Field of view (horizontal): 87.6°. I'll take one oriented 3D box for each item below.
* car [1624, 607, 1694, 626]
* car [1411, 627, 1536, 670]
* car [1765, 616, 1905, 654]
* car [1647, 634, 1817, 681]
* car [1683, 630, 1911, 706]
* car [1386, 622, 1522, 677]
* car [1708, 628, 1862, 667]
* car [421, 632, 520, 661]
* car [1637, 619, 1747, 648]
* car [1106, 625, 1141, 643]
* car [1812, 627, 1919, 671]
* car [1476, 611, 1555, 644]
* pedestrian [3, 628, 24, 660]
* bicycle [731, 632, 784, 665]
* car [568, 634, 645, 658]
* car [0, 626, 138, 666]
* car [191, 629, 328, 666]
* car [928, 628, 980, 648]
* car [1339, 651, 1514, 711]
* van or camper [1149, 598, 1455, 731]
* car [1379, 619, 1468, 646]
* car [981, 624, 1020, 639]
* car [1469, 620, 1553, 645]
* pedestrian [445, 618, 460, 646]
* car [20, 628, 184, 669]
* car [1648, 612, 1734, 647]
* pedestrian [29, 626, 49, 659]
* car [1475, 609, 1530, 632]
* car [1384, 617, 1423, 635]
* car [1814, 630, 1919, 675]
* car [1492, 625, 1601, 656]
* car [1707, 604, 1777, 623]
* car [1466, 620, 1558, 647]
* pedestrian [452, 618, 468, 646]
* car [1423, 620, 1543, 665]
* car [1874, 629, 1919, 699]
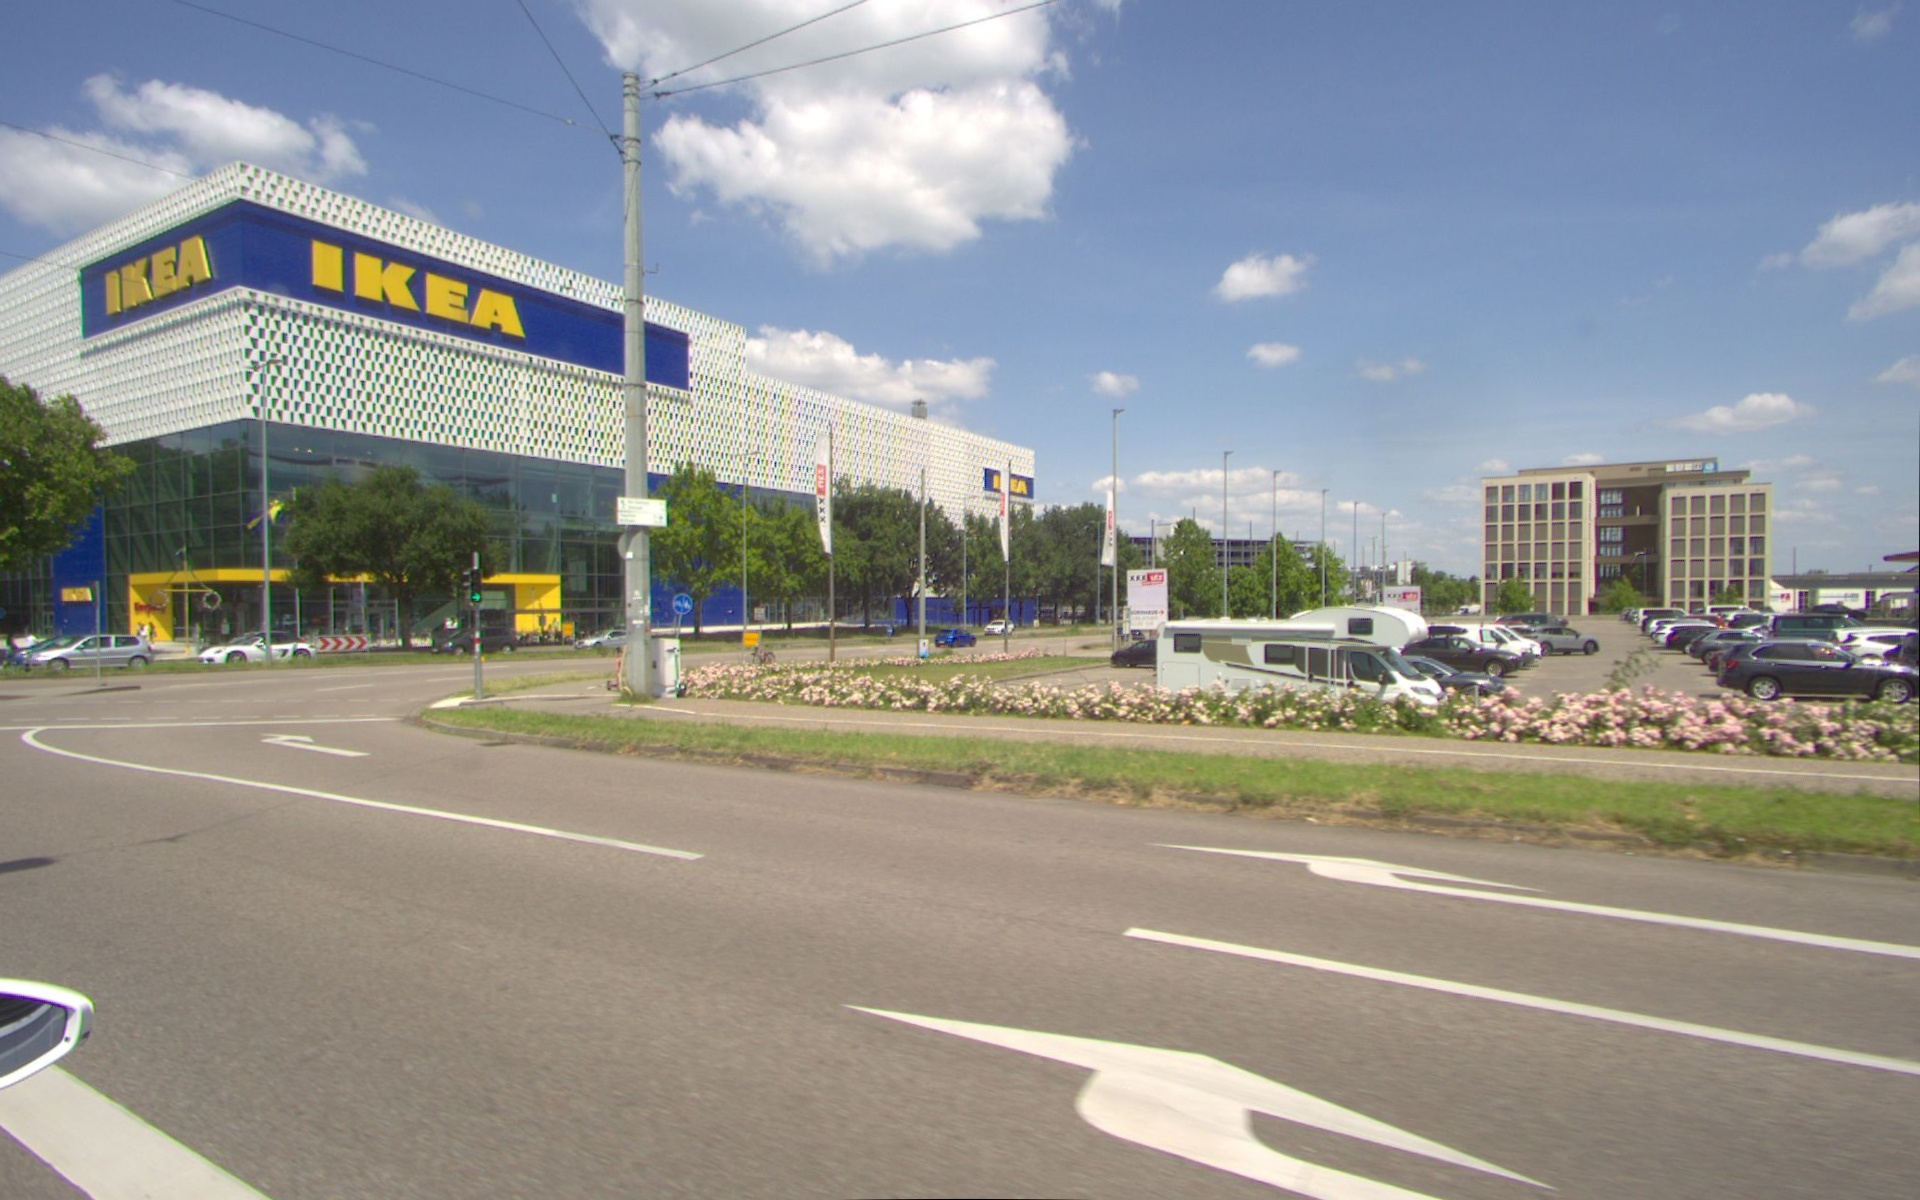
[{"bbox_3d":[61.241,1.496,87.876,4.929,1.631,1.990,-1,-2,32],"label":"car"},{"bbox_3d":[23.288,2.153,45.499,4.929,1.876,1.990,-1,-2,32],"label":"car"},{"bbox_3d":[45.044,1.812,51.703,5.105,1.889,1.991,-1,-2,30],"label":"car"},{"bbox_3d":[29.405,2.141,38.374,4.929,1.632,1.990,-1,0,32],"label":"car"},{"bbox_3d":[24.620,1.939,29.753,4.929,2.040,1.989,-1,1,32],"label":"car"},{"bbox_3d":[20.439,2.010,41.496,4.929,2.162,1.990,-1,-1,32],"label":"car"},{"bbox_3d":[35.931,2.042,43.809,4.927,1.631,1.991,-1,-2,31],"label":"car"},{"bbox_3d":[-26.732,2.550,54.866,1.973,1.505,4.487,-1,-3,35],"label":"car"},{"bbox_3d":[41.879,1.905,57.439,4.929,1.631,1.990,-1,-2,32],"label":"car"},{"bbox_3d":[14.638,3.015,89.602,1.741,1.546,4.080,-1,-1,31],"label":"car"},{"bbox_3d":[37.095,1.912,39.601,4.929,1.671,1.990,-1,-2,32],"label":"car"},{"bbox_3d":[40.297,1.989,72.618,4.929,2.333,1.990,-1,-1,32],"label":"car"},{"bbox_3d":[-47.345,2.191,50.104,0.699,1.564,0.672,1,-1,-39],"label":"pedestrian"},{"bbox_3d":[-9.430,2.230,46.783,0.975,1.500,2.415,-1,-1,36],"label":"bicycle"},{"bbox_3d":[-23.349,3.069,66.249,1.973,1.505,4.487,-1,-3,35],"label":"car"},{"bbox_3d":[-35.799,1.841,40.297,1.973,1.505,3.780,-1,-3,35],"label":"car"},{"bbox_3d":[-30.253,2.060,43.377,1.973,1.505,4.487,-1,-3,35],"label":"car"},{"bbox_3d":[-0.438,2.858,75.398,1.821,1.473,3.972,-1,-3,39],"label":"car"},{"bbox_3d":[14.286,2.427,30.733,4.701,1.558,1.989,-1,0,32],"label":"car"},{"bbox_3d":[8.723,1.564,25.999,7.128,3.059,2.500,-1,-2,36],"label":"van or camper"},{"bbox_3d":[28.746,1.994,62.201,4.921,1.631,1.993,-1,-2,27],"label":"car"},{"bbox_3d":[4.167,3.220,102.698,1.973,1.505,4.487,-1,-3,35],"label":"car"},{"bbox_3d":[37.679,2.225,68.507,4.929,1.631,1.990,-1,-2,32],"label":"car"},{"bbox_3d":[-37.746,2.377,74.510,0.813,2.039,0.709,0,-1,34],"label":"pedestrian"},{"bbox_3d":[-33.039,1.862,38.678,1.973,1.505,4.487,-1,-3,35],"label":"car"},{"bbox_3d":[43.303,1.762,59.462,3.942,2.039,1.990,-1,-1,32],"label":"car"},{"bbox_3d":[-46.707,2.145,50.774,0.699,1.656,0.607,1,-1,-39],"label":"pedestrian"},{"bbox_3d":[45.347,1.702,83.746,3.942,1.863,1.819,-1,-1,32],"label":"car"},{"bbox_3d":[52.186,3.073,117.796,4.068,2.039,1.479,-1,-1,32],"label":"car"},{"bbox_3d":[35.325,1.940,37.417,4.929,1.631,1.990,-1,-2,32],"label":"car"},{"bbox_3d":[31.828,2.190,54.394,4.905,1.631,2.000,0,-1,-7],"label":"car"},{"bbox_3d":[72.245,1.257,92.625,4.929,1.631,1.990,-1,-2,32],"label":"car"},{"bbox_3d":[34.168,2.054,62.001,4.929,1.631,1.990,-1,-2,32],"label":"car"},{"bbox_3d":[-36.887,2.359,73.874,0.813,2.039,0.709,0,-1,34],"label":"pedestrian"},{"bbox_3d":[24.840,1.997,47.586,4.929,2.033,1.990,-1,-2,32],"label":"car"},{"bbox_3d":[30.239,1.848,28.861,5.455,2.039,1.990,-1,-2,32],"label":"car"}]
